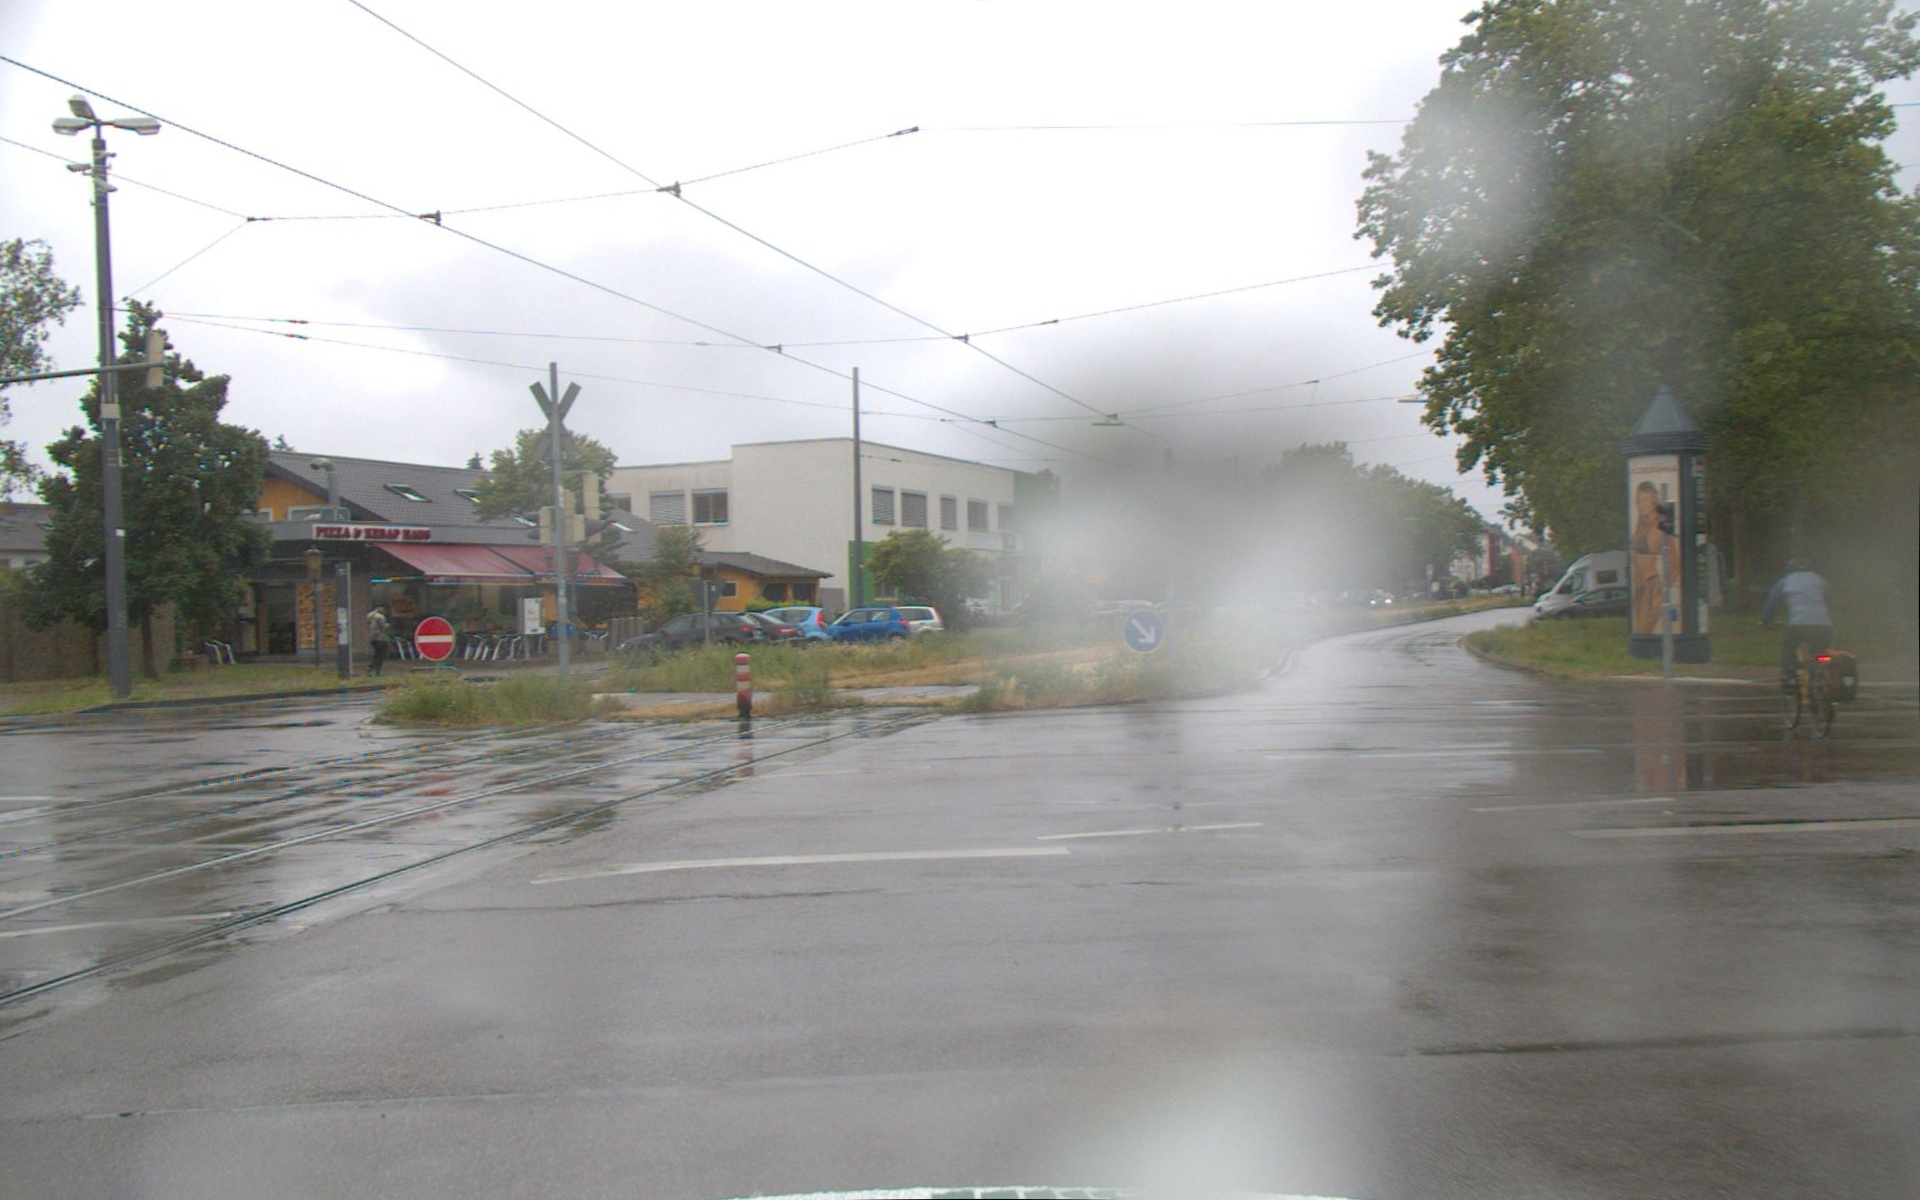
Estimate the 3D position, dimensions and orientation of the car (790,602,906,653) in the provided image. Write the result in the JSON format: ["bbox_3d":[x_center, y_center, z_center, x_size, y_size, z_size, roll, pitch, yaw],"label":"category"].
[{"bbox_3d":[-3.887,0.935,57.180,3.911,1.609,1.927,-2,0,-6],"label":"car"}]

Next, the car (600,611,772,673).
[{"bbox_3d":[-7.692,1.168,46.652,4.383,1.443,1.860,-3,0,6],"label":"car"}]

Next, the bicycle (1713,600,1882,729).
[{"bbox_3d":[7.826,0.577,15.546,0.676,1.136,1.885,-1,-1,2],"label":"bicycle"}]

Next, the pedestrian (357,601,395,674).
[{"bbox_3d":[-15.005,0.957,42.466,0.718,1.829,0.876,0,1,-35],"label":"pedestrian"}]

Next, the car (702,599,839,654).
[{"bbox_3d":[-5.956,0.835,52.317,3.902,1.609,1.860,-2,0,9],"label":"car"}]

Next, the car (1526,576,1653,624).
[{"bbox_3d":[23.891,0.007,62.806,4.356,1.747,1.998,0,0,26],"label":"car"}]

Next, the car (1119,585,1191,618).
[{"bbox_3d":[11.338,0.086,96.313,3.906,1.920,1.999,0,0,-2],"label":"car"}]

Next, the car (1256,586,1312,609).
[{"bbox_3d":[25.453,-0.185,130.067,3.910,1.789,2.007,0,0,-7],"label":"car"}]

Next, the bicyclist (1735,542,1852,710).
[{"bbox_3d":[7.819,0.242,15.547,0.676,1.532,0.844,-1,-1,2],"label":"bicyclist"}]

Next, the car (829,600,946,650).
[{"bbox_3d":[-2.667,0.897,60.289,4.033,1.670,1.926,-2,0,-9],"label":"car"}]

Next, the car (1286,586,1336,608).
[{"bbox_3d":[30.534,-0.254,143.886,3.905,1.864,2.000,0,0,0],"label":"car"}]

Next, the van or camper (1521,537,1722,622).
[{"bbox_3d":[26.130,-0.764,65.480,7.173,3.234,3.262,0,0,23],"label":"van or camper"}]

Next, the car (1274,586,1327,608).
[{"bbox_3d":[28.604,-0.242,138.952,3.910,1.864,1.997,0,0,-7],"label":"car"}]

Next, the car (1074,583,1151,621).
[{"bbox_3d":[7.916,0.114,85.671,3.902,1.896,2.001,0,0,6],"label":"car"}]

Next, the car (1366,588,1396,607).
[{"bbox_3d":[39.455,-0.216,154.866,1.854,1.691,3.995,-1,0,28],"label":"car"}]

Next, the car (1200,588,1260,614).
[{"bbox_3d":[18.383,0.064,112.565,3.701,1.732,1.835,0,0,-5],"label":"car"}]

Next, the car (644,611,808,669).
[{"bbox_3d":[-6.870,1.169,48.767,4.402,1.443,1.860,-3,0,6],"label":"car"}]

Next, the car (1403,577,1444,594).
[{"bbox_3d":[51.010,-1.620,182.163,3.905,1.864,2.000,0,0,0],"label":"car"}]
